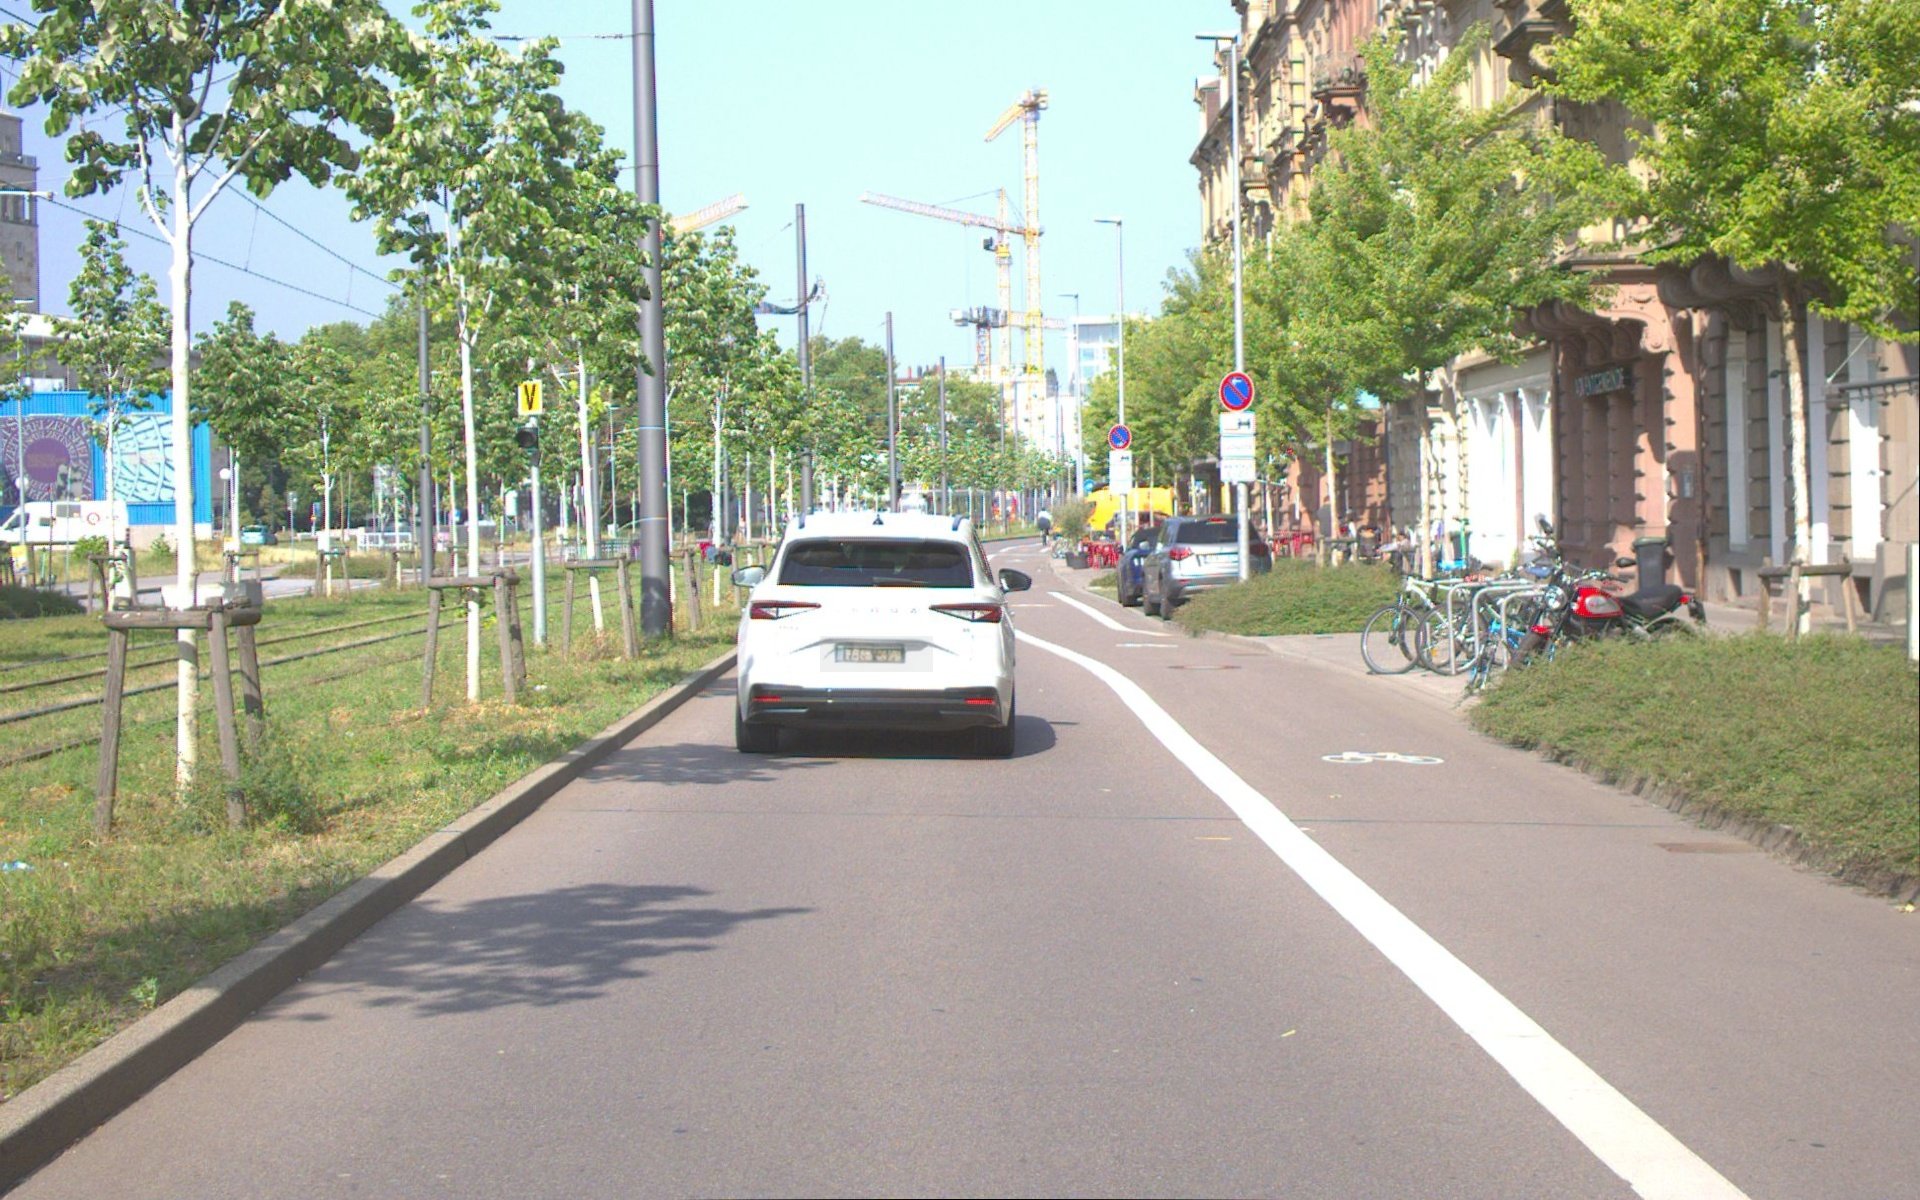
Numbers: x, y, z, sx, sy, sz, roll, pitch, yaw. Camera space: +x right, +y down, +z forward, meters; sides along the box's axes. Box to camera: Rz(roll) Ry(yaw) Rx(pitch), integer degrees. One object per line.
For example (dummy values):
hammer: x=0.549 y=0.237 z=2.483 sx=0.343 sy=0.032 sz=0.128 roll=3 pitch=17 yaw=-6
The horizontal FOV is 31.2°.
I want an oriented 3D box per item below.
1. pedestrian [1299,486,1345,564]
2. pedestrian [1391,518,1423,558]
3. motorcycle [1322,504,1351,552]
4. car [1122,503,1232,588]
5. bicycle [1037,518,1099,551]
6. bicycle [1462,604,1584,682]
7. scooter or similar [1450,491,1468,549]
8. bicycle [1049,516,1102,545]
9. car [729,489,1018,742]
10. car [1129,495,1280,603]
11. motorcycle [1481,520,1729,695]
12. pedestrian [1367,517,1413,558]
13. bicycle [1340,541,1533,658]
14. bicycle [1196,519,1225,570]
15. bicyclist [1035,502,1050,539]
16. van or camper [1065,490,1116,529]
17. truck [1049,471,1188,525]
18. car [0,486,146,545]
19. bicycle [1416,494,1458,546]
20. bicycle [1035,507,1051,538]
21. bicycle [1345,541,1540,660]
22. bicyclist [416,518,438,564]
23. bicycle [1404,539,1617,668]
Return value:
pedestrian: x=8.053 y=-1.666 z=76.521 sx=0.823 sy=1.690 sz=0.793 roll=-3 pitch=2 yaw=-4
pedestrian: x=9.892 y=-1.367 z=76.046 sx=0.570 sy=0.852 sz=0.457 roll=-3 pitch=2 yaw=-6
motorcycle: x=9.479 y=-1.826 z=86.616 sx=0.463 sy=1.171 sz=1.945 roll=-3 pitch=1 yaw=0
car: x=3.893 y=-1.010 z=62.296 sx=1.736 sy=1.391 sz=4.715 roll=-2 pitch=2 yaw=1
bicycle: x=3.990 y=-2.425 z=127.087 sx=2.239 sy=1.100 sz=0.588 roll=-3 pitch=1 yaw=2
bicycle: x=4.789 y=0.368 z=29.257 sx=0.958 sy=0.607 sz=0.360 roll=-3 pitch=1 yaw=1
scooter or similar: x=9.892 y=-1.596 z=68.200 sx=0.289 sy=1.130 sz=1.088 roll=-1 pitch=2 yaw=6
bicycle: x=4.297 y=-2.580 z=128.245 sx=1.934 sy=0.983 sz=0.471 roll=-3 pitch=1 yaw=2
car: x=-0.550 y=0.042 z=23.859 sx=1.817 sy=1.584 sz=4.407 roll=0 pitch=1 yaw=0
car: x=3.841 y=-0.845 z=54.676 sx=1.769 sy=1.583 sz=4.249 roll=-2 pitch=2 yaw=-4
motorcycle: x=5.240 y=0.042 z=27.870 sx=2.035 sy=1.282 sz=0.705 roll=-4 pitch=3 yaw=-34
pedestrian: x=9.730 y=-1.407 z=77.741 sx=0.877 sy=0.873 sz=0.711 roll=-3 pitch=2 yaw=-3
bicycle: x=4.655 y=-0.009 z=33.599 sx=1.784 sy=1.050 sz=0.373 roll=-3 pitch=2 yaw=-1
bicycle: x=5.536 y=-1.240 z=76.056 sx=0.492 sy=1.090 sz=1.827 roll=-1 pitch=2 yaw=0
bicyclist: x=4.171 y=-4.020 z=173.740 sx=0.709 sy=1.889 sz=0.843 roll=-1 pitch=2 yaw=1
van or camper: x=5.734 y=-3.974 z=151.543 sx=1.993 sy=1.649 sz=4.000 roll=-2 pitch=1 yaw=-1
truck: x=7.195 y=-4.609 z=155.553 sx=5.875 sy=2.310 sz=2.218 roll=0 pitch=2 yaw=18
car: x=-42.162 y=-3.997 z=162.537 sx=6.873 sy=2.629 sz=2.515 roll=1 pitch=1 yaw=-21
bicycle: x=10.090 y=-1.686 z=72.685 sx=0.450 sy=1.079 sz=1.449 roll=-1 pitch=2 yaw=-9
bicycle: x=4.189 y=-3.930 z=173.903 sx=0.781 sy=1.491 sz=2.801 roll=-1 pitch=2 yaw=1
bicycle: x=4.654 y=0.000 z=33.193 sx=1.784 sy=1.050 sz=0.373 roll=-3 pitch=2 yaw=-1
bicyclist: x=-20.653 y=-2.297 z=133.287 sx=0.647 sy=1.730 sz=0.919 roll=-3 pitch=1 yaw=0
bicycle: x=5.119 y=0.022 z=31.997 sx=1.806 sy=1.092 sz=0.672 roll=-3 pitch=2 yaw=-5
